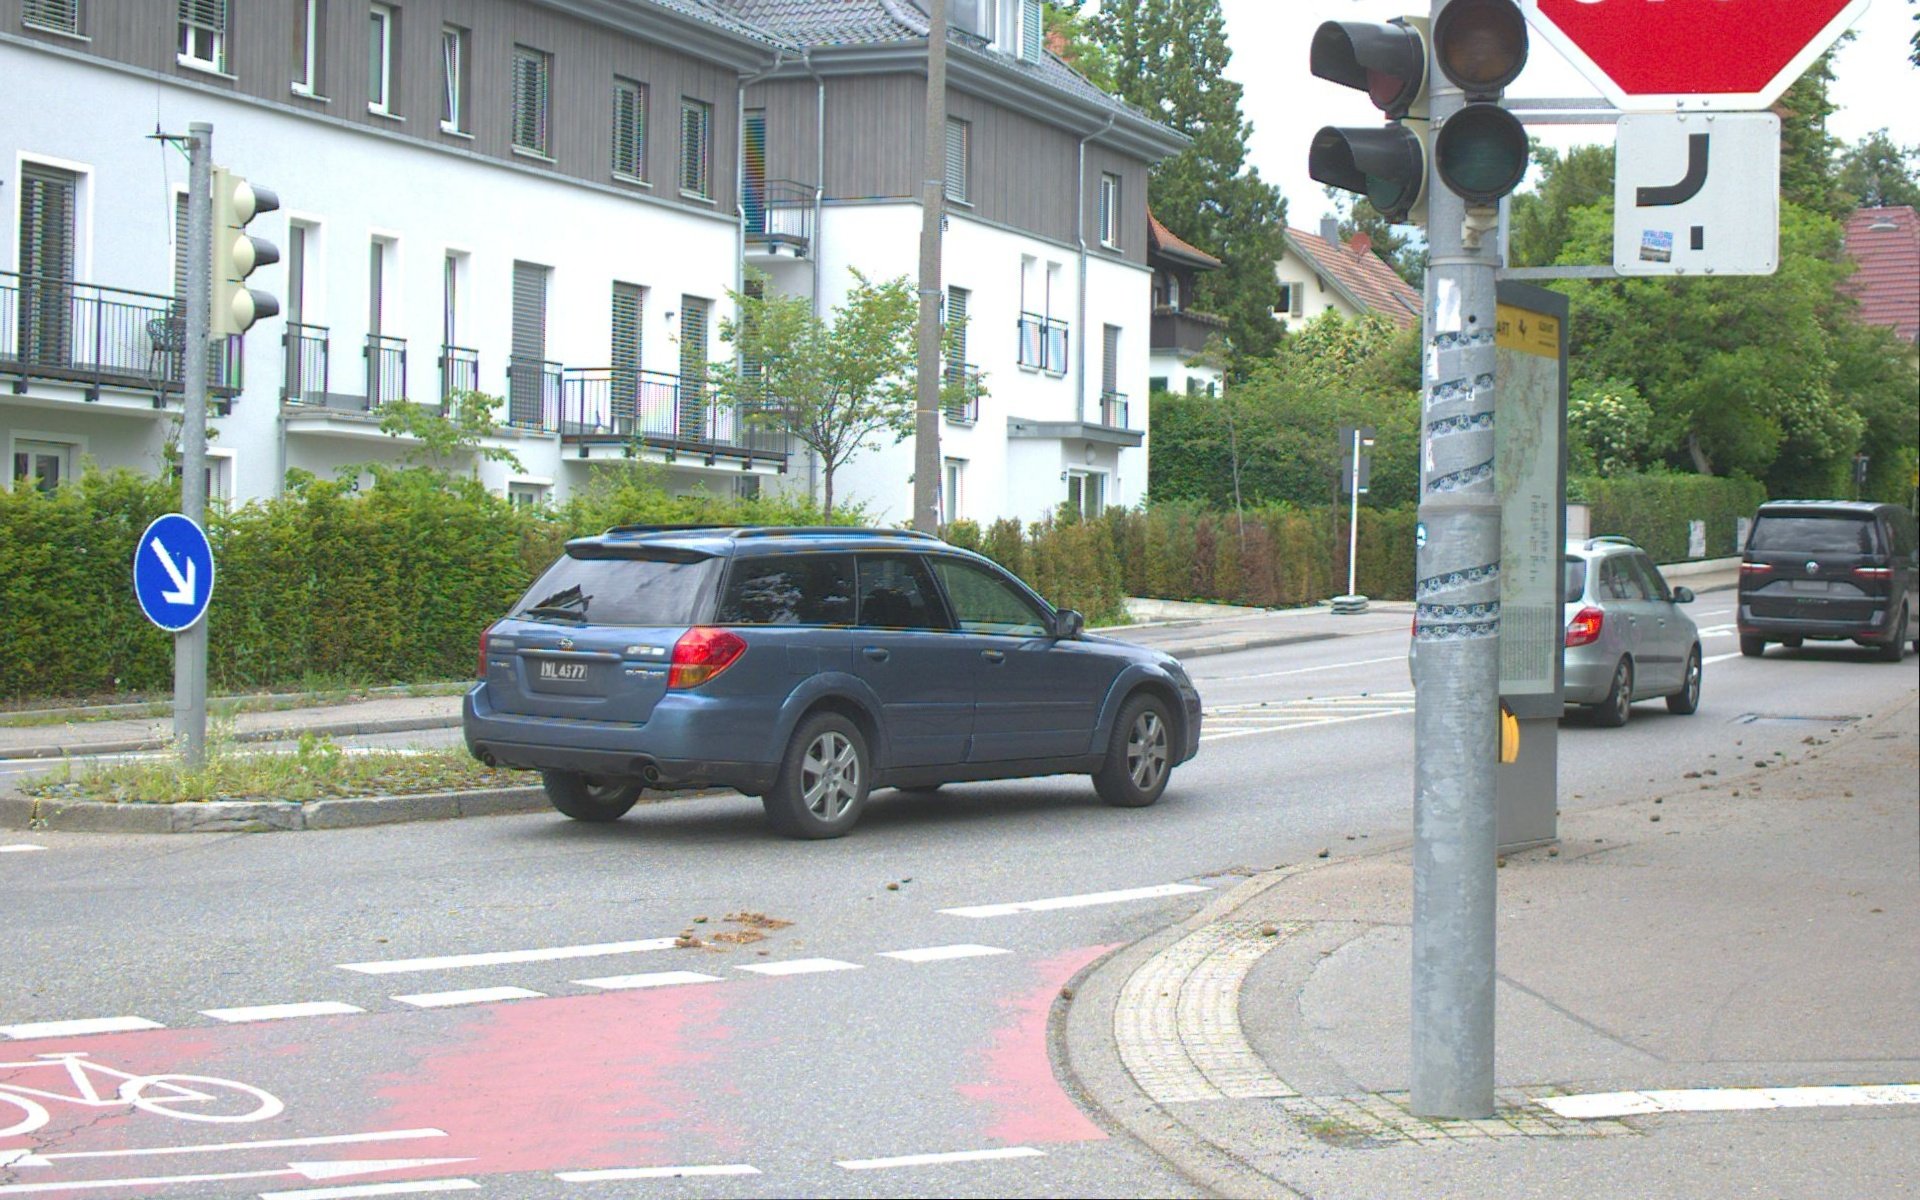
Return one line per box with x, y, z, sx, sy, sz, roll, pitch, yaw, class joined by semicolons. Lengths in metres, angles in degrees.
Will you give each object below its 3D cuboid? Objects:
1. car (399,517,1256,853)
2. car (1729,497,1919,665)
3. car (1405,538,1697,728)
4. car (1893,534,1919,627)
-0.536;0.343;18.055;1.804;1.522;4.732;0;1;39;car
10.849;-0.276;42.345;1.921;1.887;4.903;3;2;21;car
4.872;0.223;27.979;1.695;1.425;3.745;0;1;20;car
16.480;-0.321;56.075;1.843;1.454;4.073;3;2;23;car
